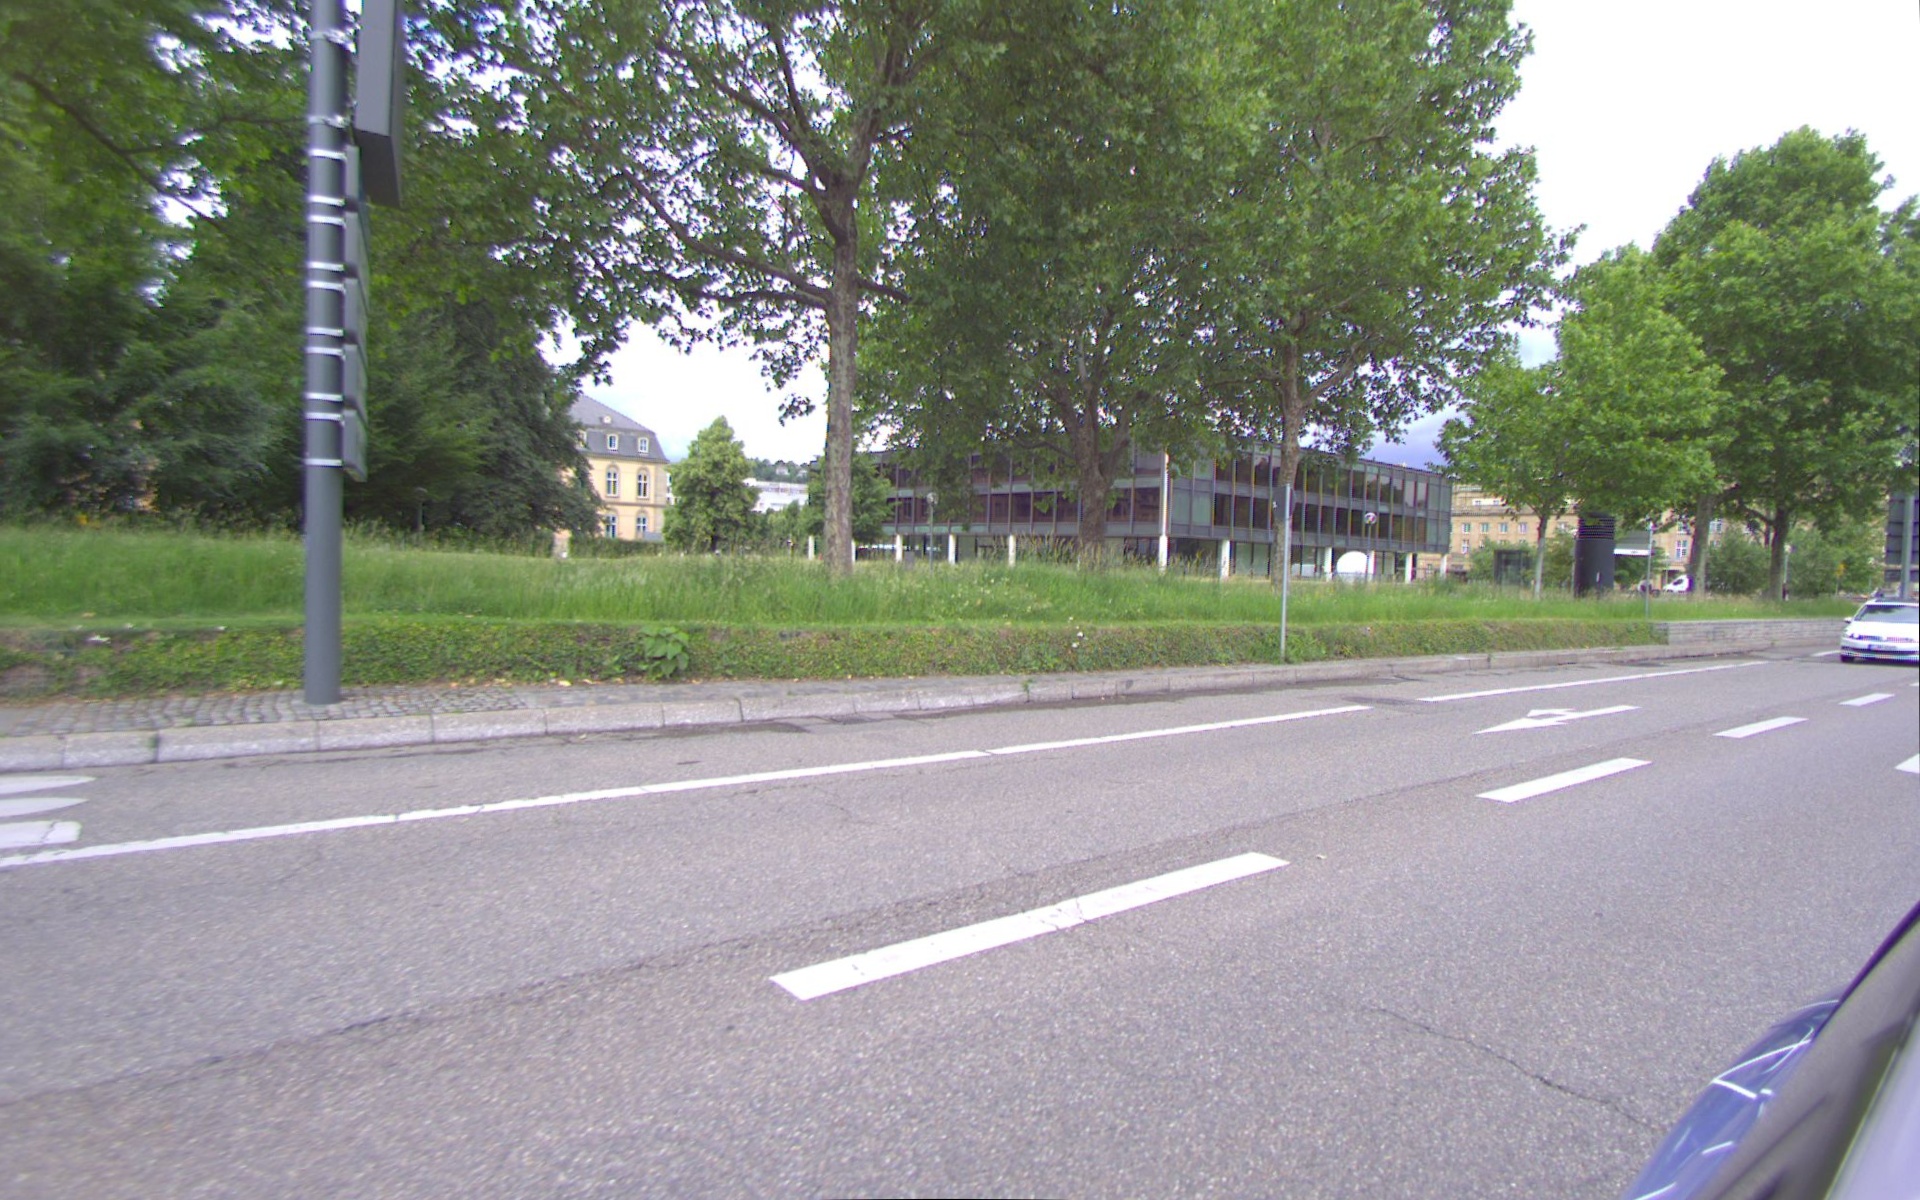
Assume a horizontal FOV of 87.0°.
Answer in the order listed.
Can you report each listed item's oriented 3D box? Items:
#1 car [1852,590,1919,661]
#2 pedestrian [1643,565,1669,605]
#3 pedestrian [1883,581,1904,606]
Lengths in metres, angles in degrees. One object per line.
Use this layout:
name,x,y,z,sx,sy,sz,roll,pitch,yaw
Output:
car,24.295,0.611,25.735,3.928,1.613,1.696,-1,3,-39
pedestrian,33.121,-0.710,48.177,1.023,1.859,0.987,0,1,35
pedestrian,61.291,-0.436,66.476,0.614,1.646,0.805,1,2,-32
